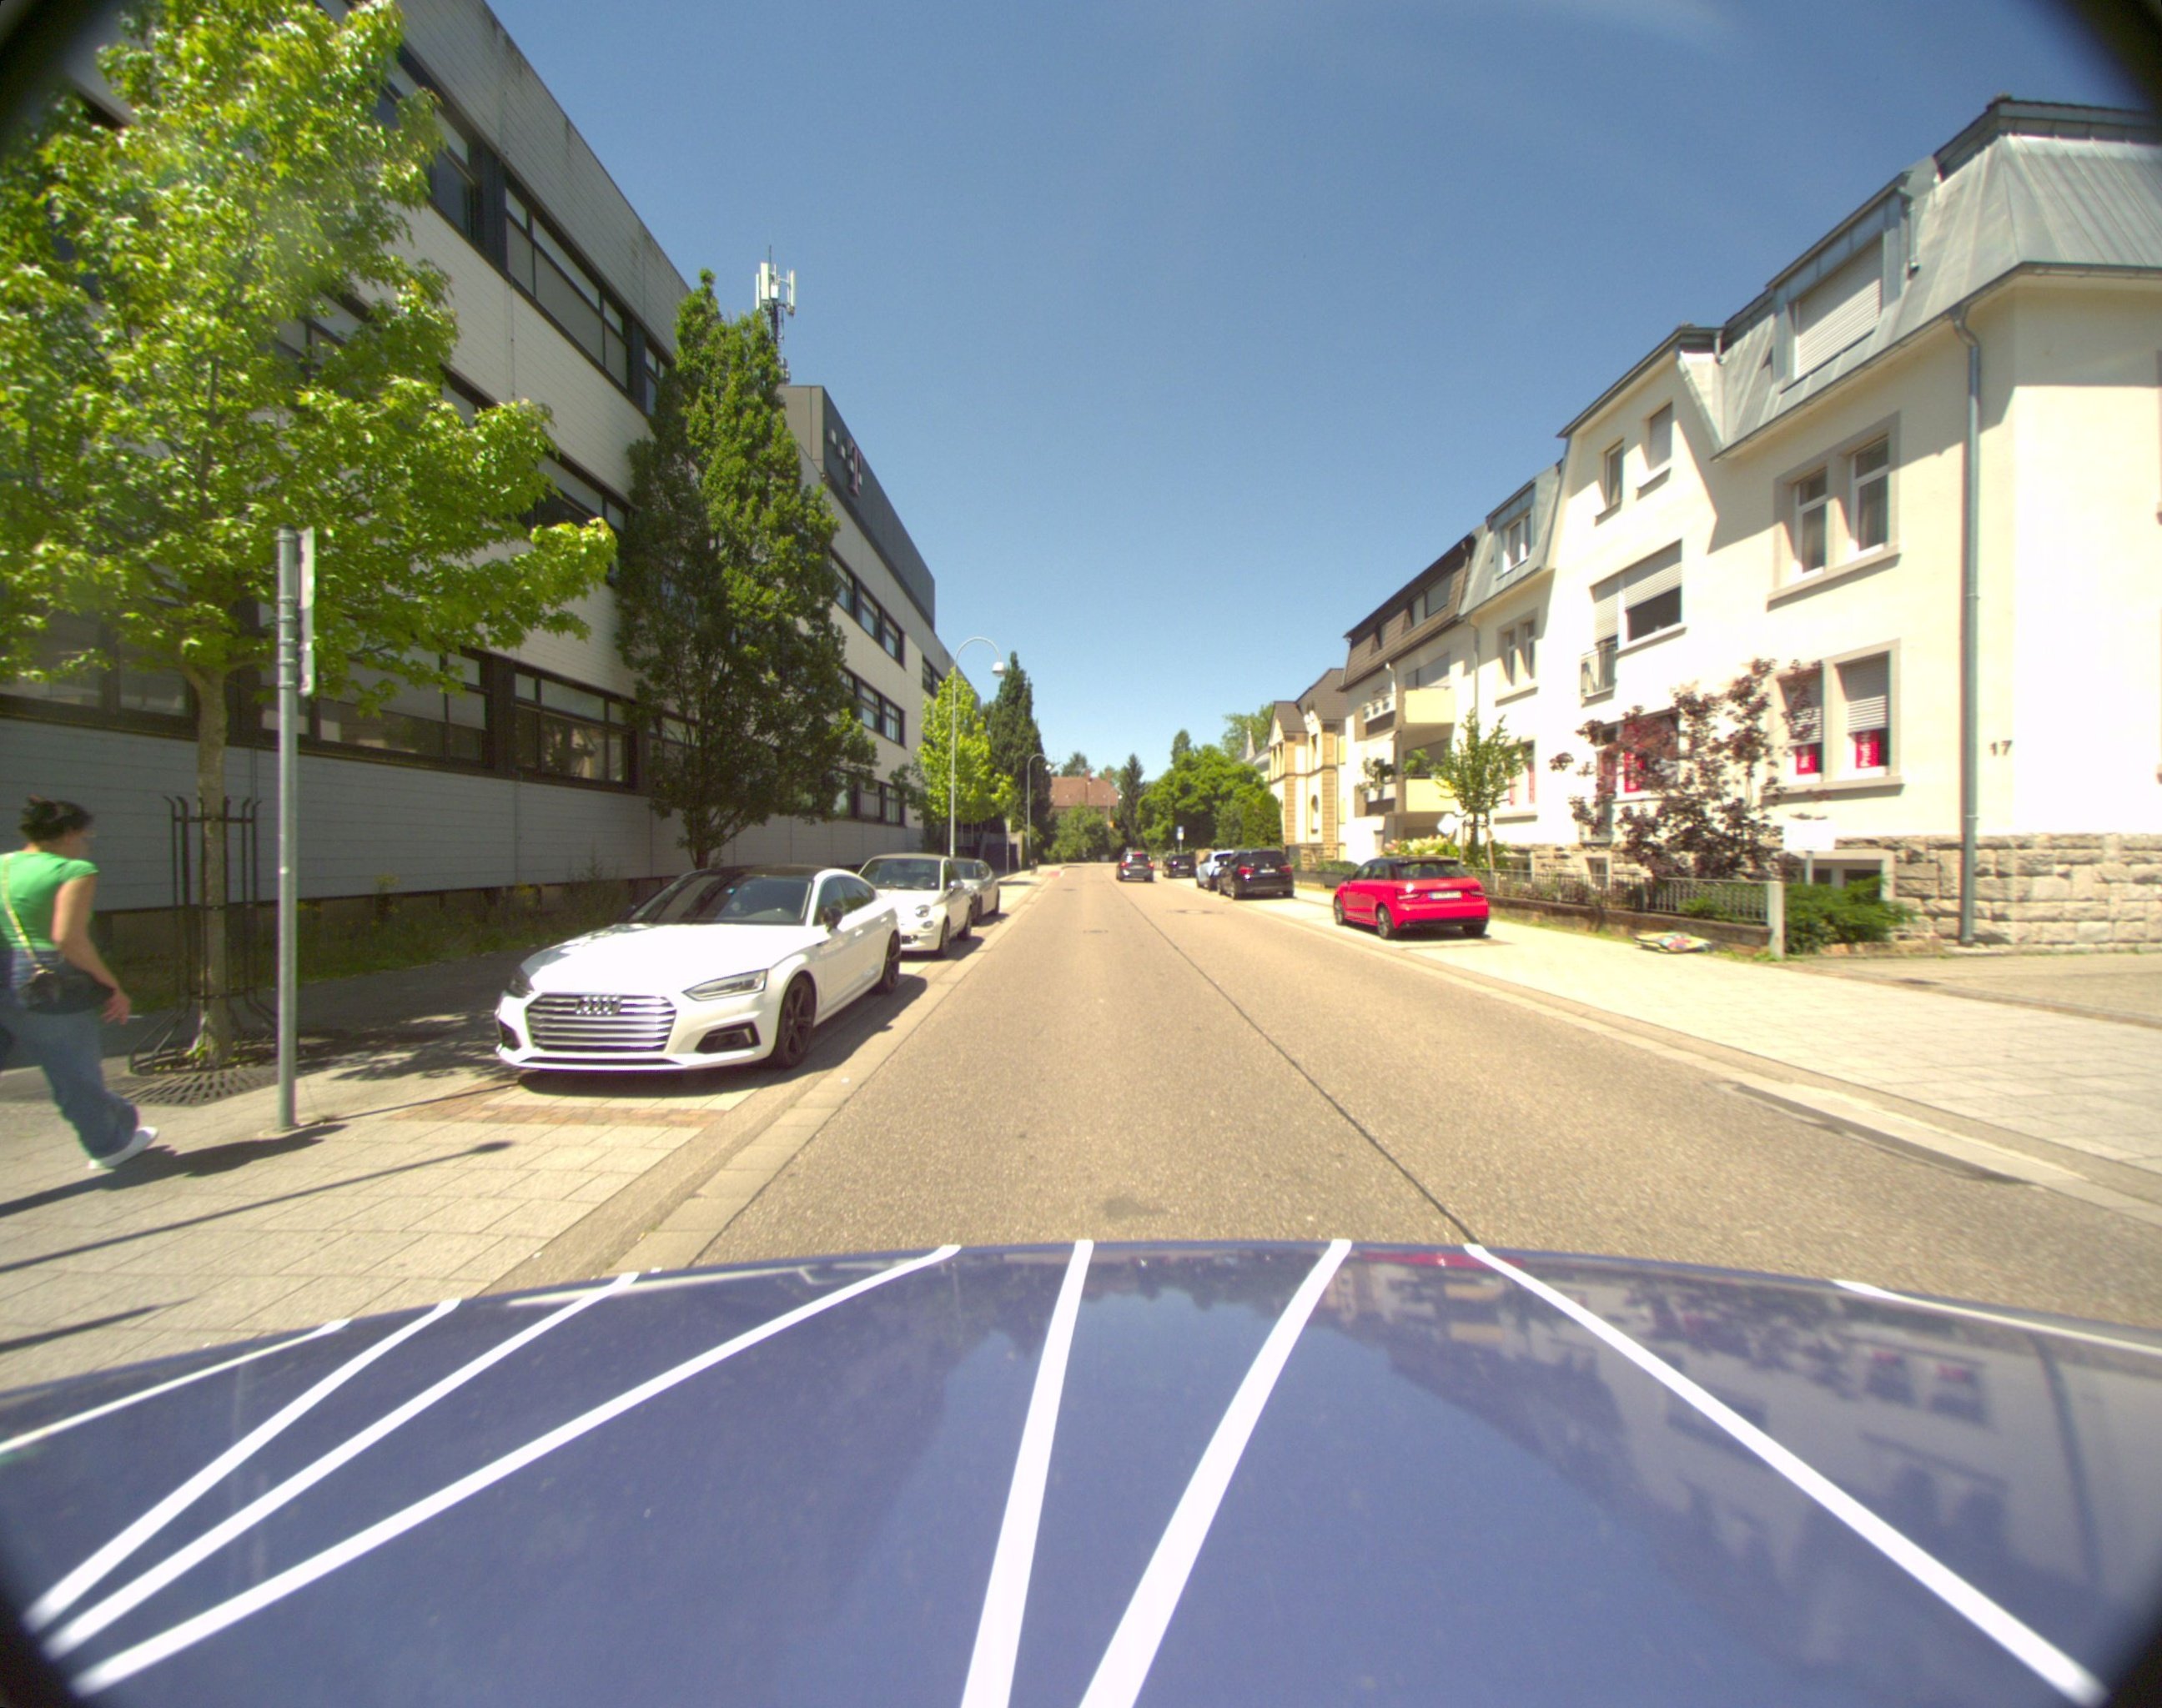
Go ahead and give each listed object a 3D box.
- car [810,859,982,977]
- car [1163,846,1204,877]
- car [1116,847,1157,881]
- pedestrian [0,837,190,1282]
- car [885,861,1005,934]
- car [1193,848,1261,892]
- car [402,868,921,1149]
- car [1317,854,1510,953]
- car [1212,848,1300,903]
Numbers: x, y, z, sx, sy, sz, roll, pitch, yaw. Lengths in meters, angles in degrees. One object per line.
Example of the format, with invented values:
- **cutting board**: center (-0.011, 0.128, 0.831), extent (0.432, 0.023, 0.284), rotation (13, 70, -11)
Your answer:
- **car**: center (-2.705, 0.861, 11.984), extent (1.715, 1.489, 3.877), rotation (1, 1, 1)
- **car**: center (6.043, 0.419, 45.421), extent (1.925, 1.681, 4.287), rotation (-3, 1, 2)
- **car**: center (2.911, 0.498, 40.740), extent (1.925, 1.668, 4.286), rotation (0, 1, 1)
- **pedestrian**: center (-4.540, 0.783, 3.111), extent (0.681, 1.690, 1.048), rotation (1, 1, -16)
- **car**: center (-2.891, 0.877, 17.025), extent (1.841, 1.357, 4.000), rotation (1, 0, 2)
- **car**: center (5.861, 0.576, 31.032), extent (1.925, 1.577, 4.287), rotation (-3, 1, 1)
- **car**: center (-2.910, 0.934, 6.777), extent (1.920, 1.460, 4.879), rotation (1, 0, 0)
- **car**: center (5.955, 0.789, 14.222), extent (1.737, 1.444, 4.259), rotation (-3, 1, 1)
- **car**: center (5.758, 0.640, 25.517), extent (1.925, 1.577, 4.435), rotation (-3, 1, 1)
